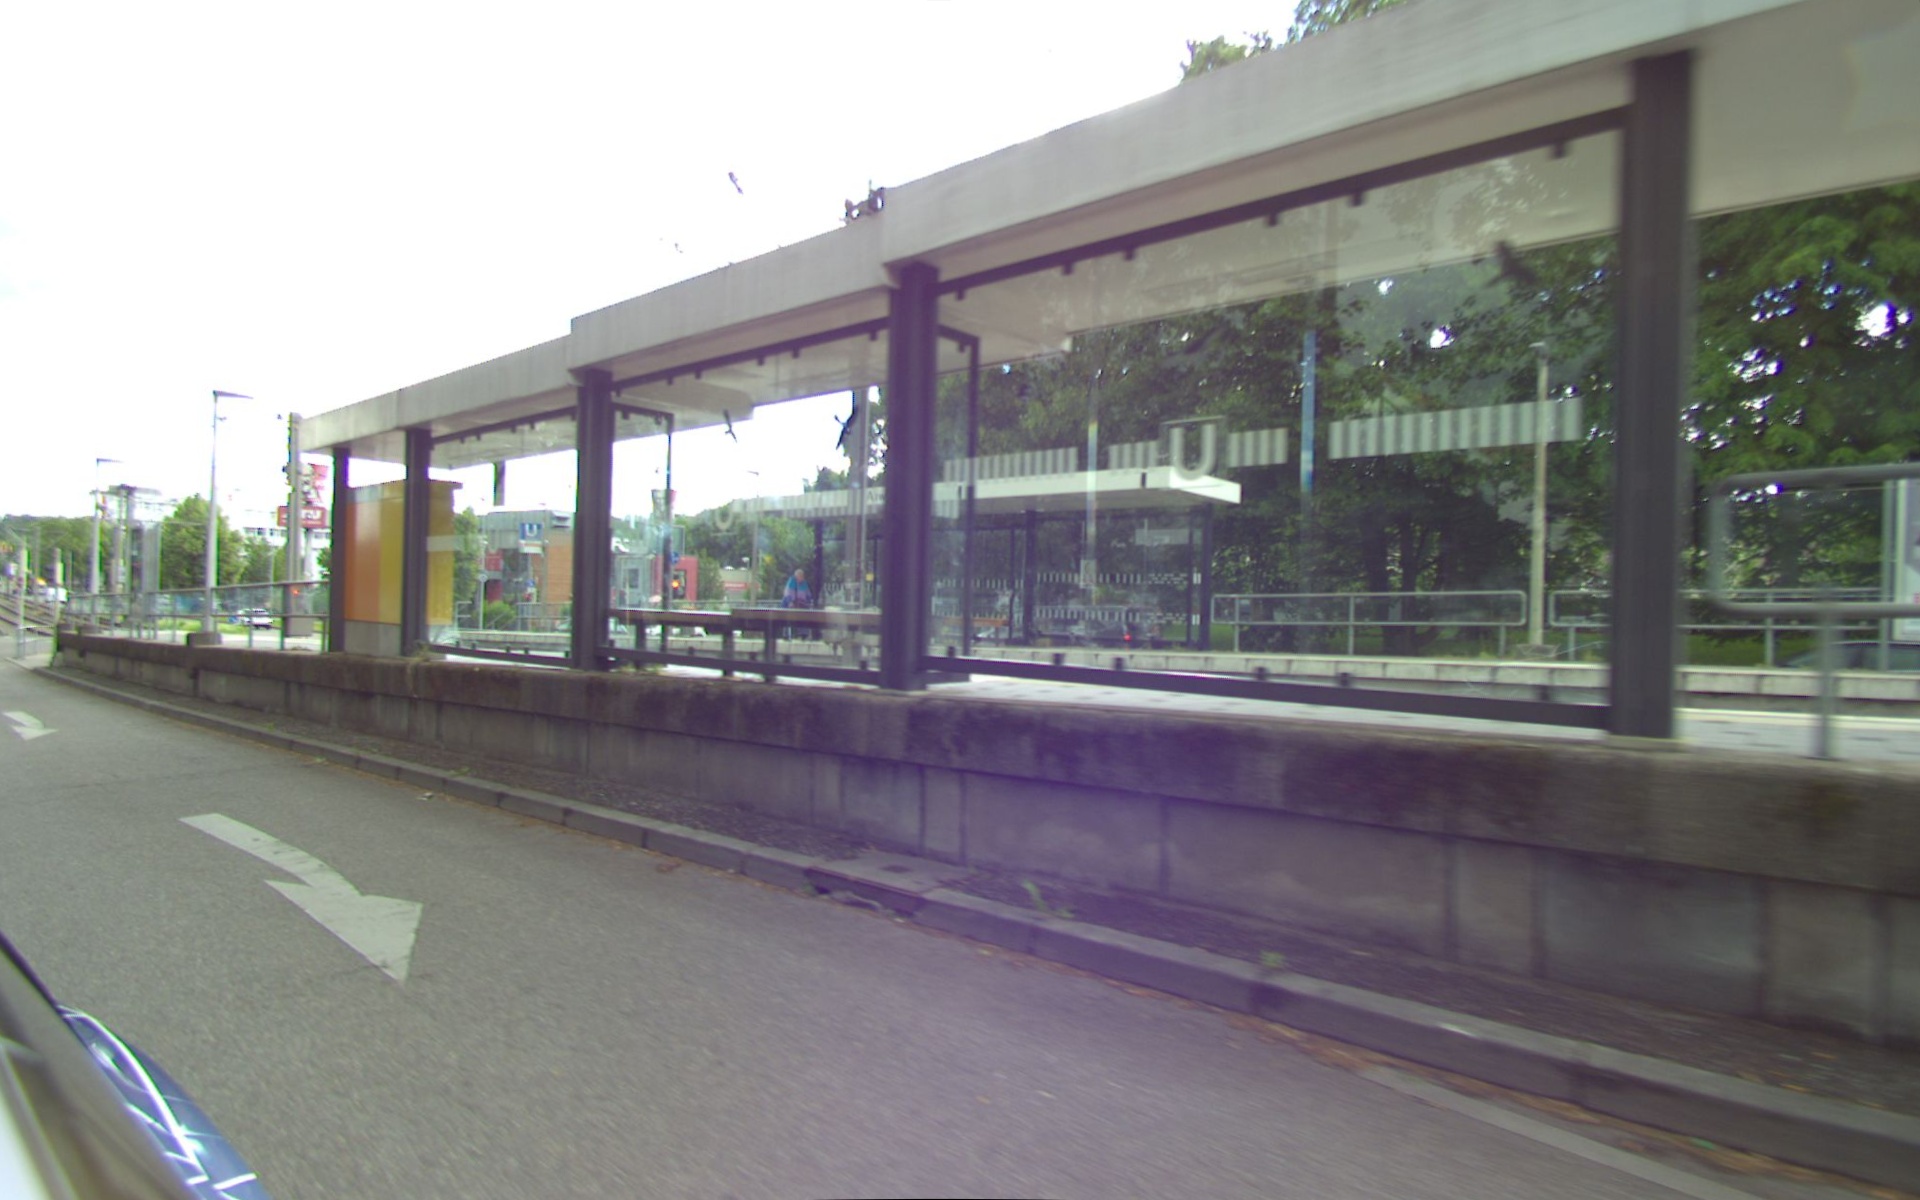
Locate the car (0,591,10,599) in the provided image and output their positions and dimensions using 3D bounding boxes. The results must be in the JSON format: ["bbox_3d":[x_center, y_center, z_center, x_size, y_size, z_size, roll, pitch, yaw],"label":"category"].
[{"bbox_3d":[-181.065,-0.979,191.038,4.477,1.594,1.766,1,-2,38],"label":"car"}]

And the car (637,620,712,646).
[{"bbox_3d":[-16.891,1.949,59.978,3.828,1.418,1.851,2,-1,-37],"label":"car"}]

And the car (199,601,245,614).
[{"bbox_3d":[-93.115,0.928,127.727,1.795,1.518,4.423,1,1,41],"label":"car"}]

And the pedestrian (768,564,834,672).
[{"bbox_3d":[-3.364,0.371,21.383,0.976,2.202,0.959,0,-1,42],"label":"pedestrian"}]

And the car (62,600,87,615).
[{"bbox_3d":[-124.010,1.025,141.725,4.104,2.029,1.973,1,-1,40],"label":"car"}]

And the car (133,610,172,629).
[{"bbox_3d":[-66.815,1.585,83.757,4.048,1.457,1.579,1,-2,38],"label":"car"}]

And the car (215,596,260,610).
[{"bbox_3d":[-83.344,0.305,116.717,2.003,1.518,3.943,1,2,43],"label":"car"}]

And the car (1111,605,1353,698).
[{"bbox_3d":[5.722,0.999,21.639,4.622,1.687,1.973,1,1,41],"label":"car"}]

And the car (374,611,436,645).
[{"bbox_3d":[-32.024,1.594,58.340,4.398,1.764,1.692,1,-2,41],"label":"car"}]

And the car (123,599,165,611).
[{"bbox_3d":[-116.083,0.693,144.048,4.546,1.503,2.002,-1,1,-43],"label":"car"}]

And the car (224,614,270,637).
[{"bbox_3d":[-52.754,1.880,74.896,3.995,1.457,1.669,1,-3,39],"label":"car"}]

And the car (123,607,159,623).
[{"bbox_3d":[-82.756,1.491,102.259,4.503,1.493,1.973,-1,-4,40],"label":"car"}]

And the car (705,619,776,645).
[{"bbox_3d":[-13.611,1.999,62.793,1.847,1.564,3.944,0,-2,42],"label":"car"}]

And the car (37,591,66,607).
[{"bbox_3d":[-120.621,-0.179,134.358,4.880,2.029,1.974,1,-2,38],"label":"car"}]

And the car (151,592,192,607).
[{"bbox_3d":[-108.765,-0.051,139.656,4.294,1.933,2.002,-1,1,-43],"label":"car"}]
